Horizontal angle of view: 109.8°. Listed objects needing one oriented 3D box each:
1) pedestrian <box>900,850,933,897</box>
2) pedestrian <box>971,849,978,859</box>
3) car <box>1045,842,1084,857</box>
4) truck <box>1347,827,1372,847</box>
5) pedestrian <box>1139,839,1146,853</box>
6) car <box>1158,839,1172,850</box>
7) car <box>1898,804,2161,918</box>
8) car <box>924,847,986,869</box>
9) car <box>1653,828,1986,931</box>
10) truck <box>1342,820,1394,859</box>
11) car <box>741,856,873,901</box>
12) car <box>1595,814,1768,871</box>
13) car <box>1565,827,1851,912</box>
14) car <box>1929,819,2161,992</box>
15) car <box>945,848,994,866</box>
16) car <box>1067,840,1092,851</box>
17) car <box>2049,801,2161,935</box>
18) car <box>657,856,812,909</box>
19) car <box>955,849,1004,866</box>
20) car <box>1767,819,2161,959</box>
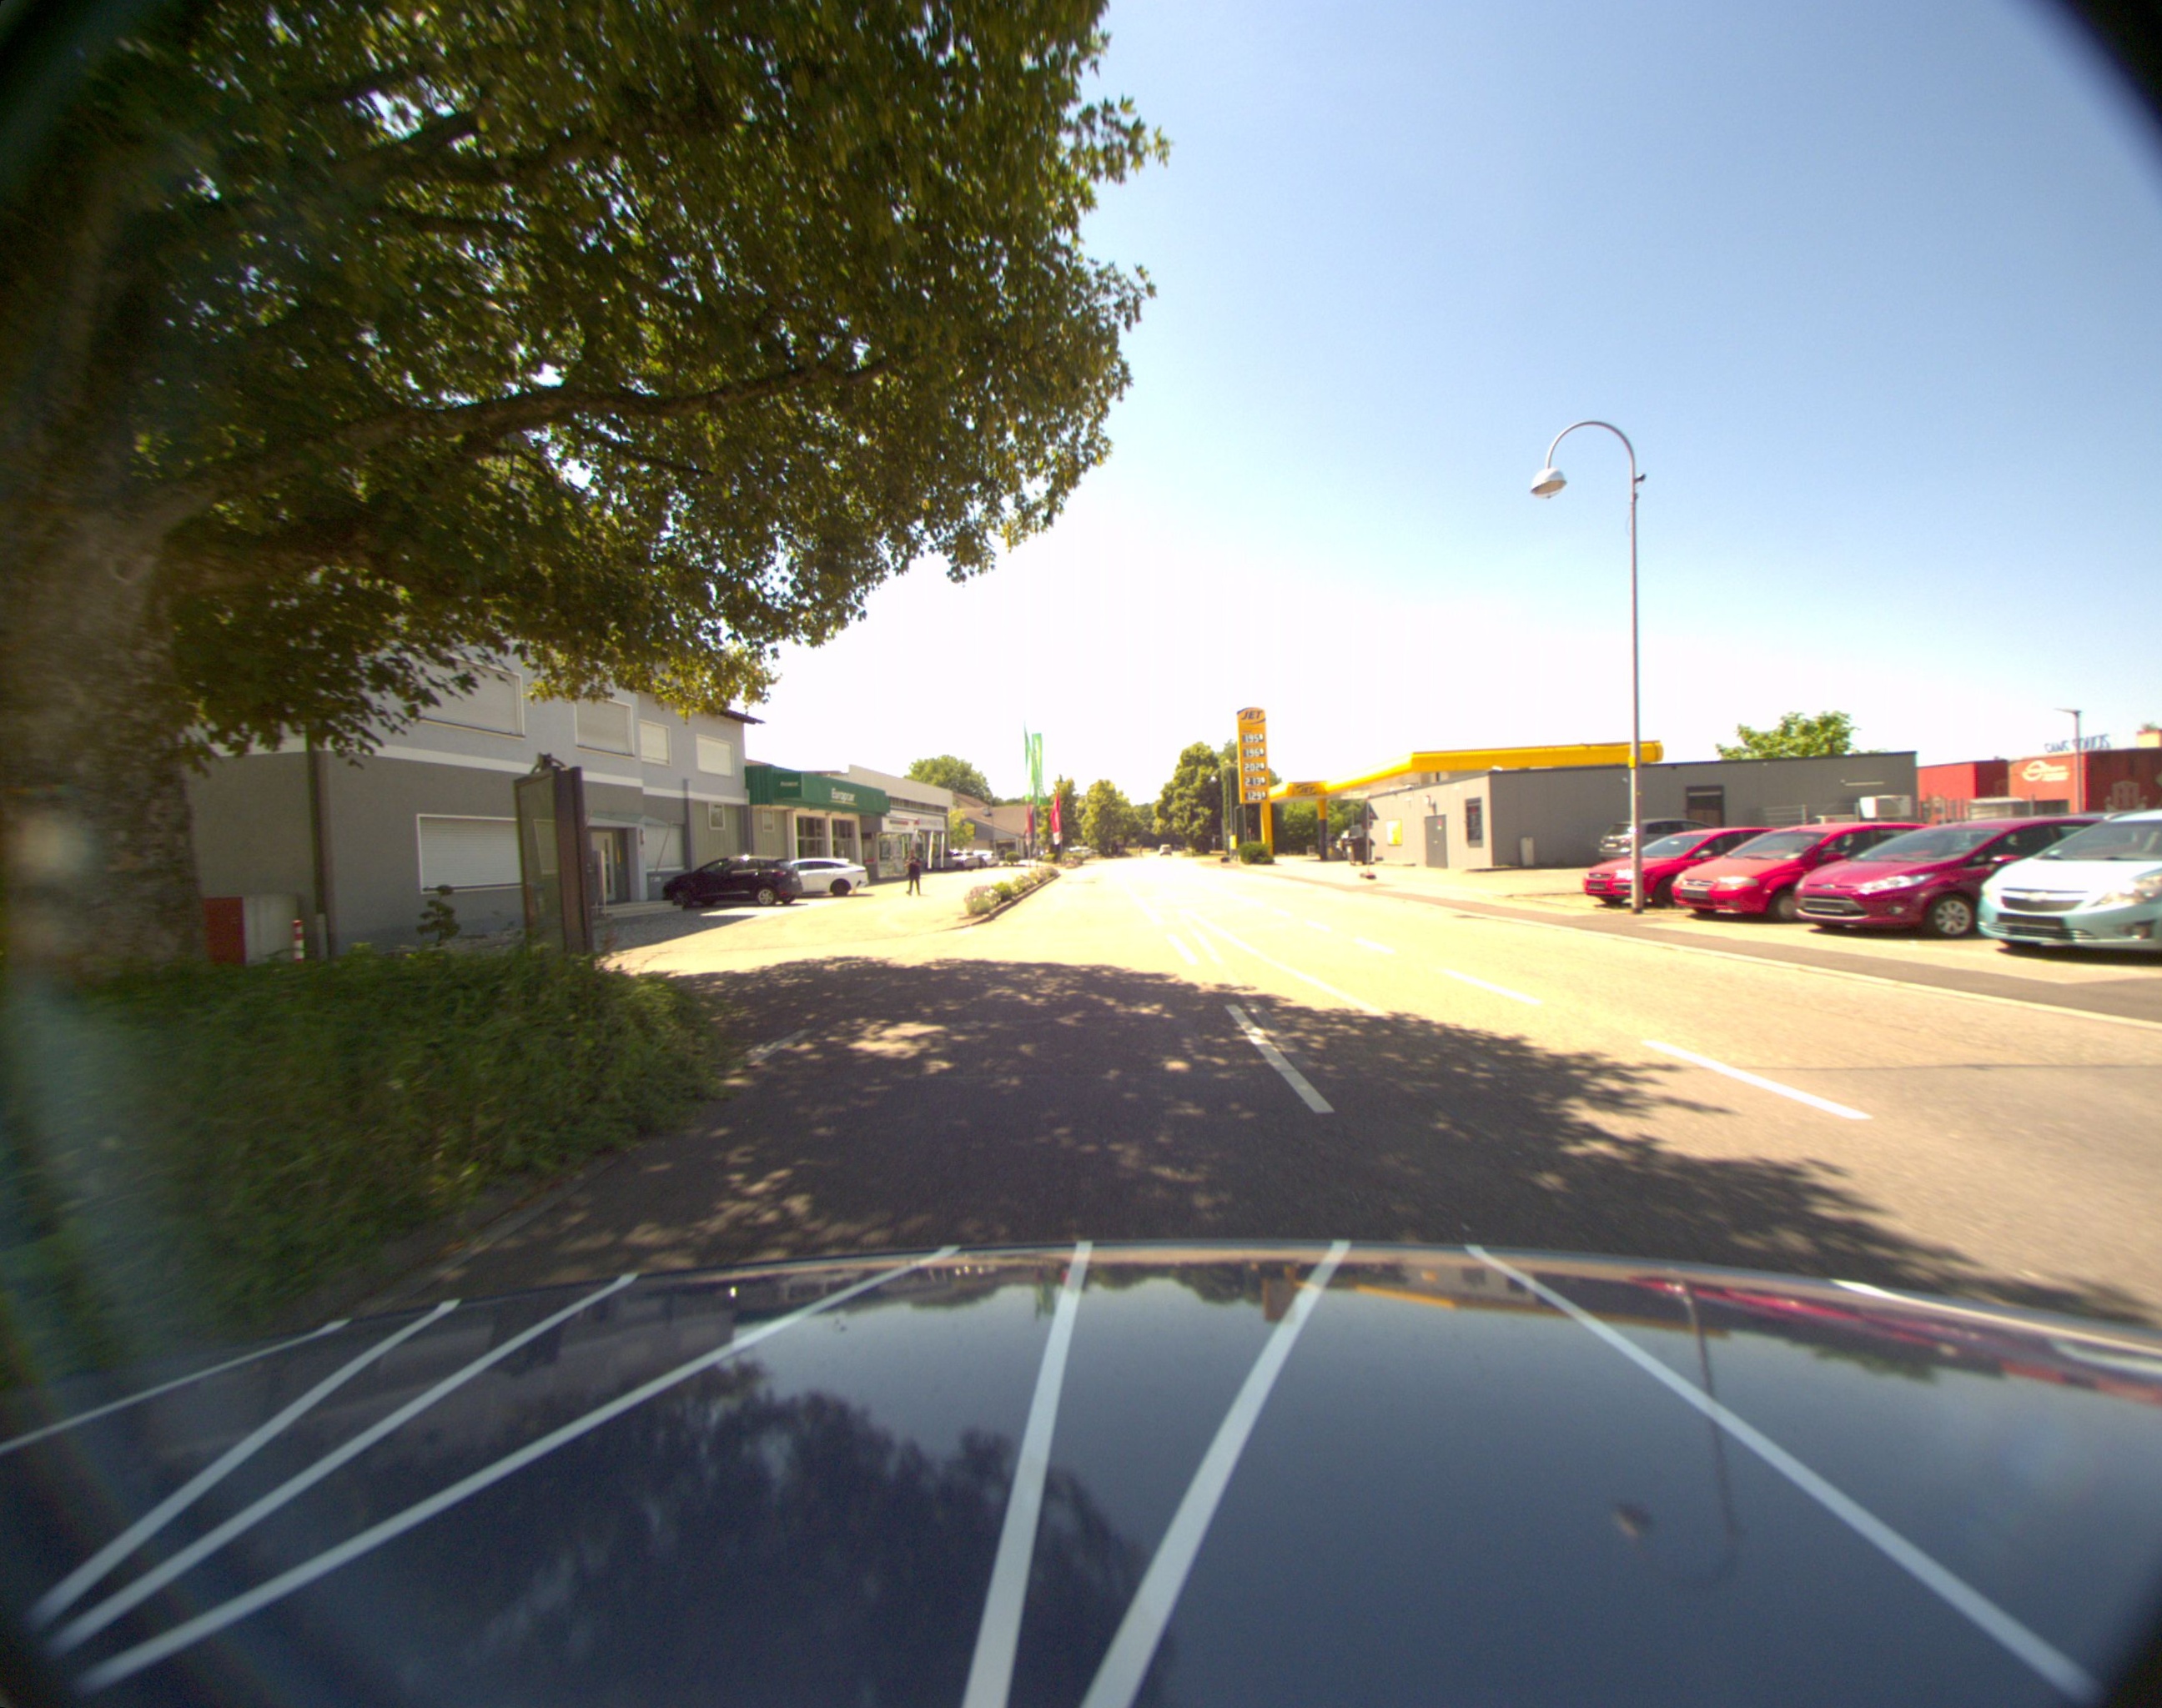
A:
[{"bbox_3d":[-6.034,0.702,27.905,0.842,1.632,1.010,-1,2,6],"label":"pedestrian"},{"bbox_3d":[-15.558,0.006,111.005,0.802,1.543,0.559,-2,2,5],"label":"pedestrian"},{"bbox_3d":[-2.035,-0.609,95.227,4.522,1.658,1.895,-2,1,10],"label":"car"},{"bbox_3d":[43.873,-2.621,120.003,2.437,2.911,8.170,-2,0,12],"label":"truck"},{"bbox_3d":[8.264,-1.071,101.887,0.730,1.779,0.621,-2,2,15],"label":"pedestrian"},{"bbox_3d":[13.006,-1.468,117.448,1.973,1.663,4.250,-1,0,7],"label":"car"},{"bbox_3d":[16.578,0.058,12.780,3.673,1.699,1.892,-2,1,-1],"label":"car"},{"bbox_3d":[-10.291,0.314,62.029,4.586,1.632,2.002,-1,1,21],"label":"car"},{"bbox_3d":[11.955,0.369,12.506,3.673,1.449,1.892,-2,1,-1],"label":"car"},{"bbox_3d":[21.046,-1.090,56.004,2.237,2.583,6.735,-2,1,9],"label":"truck"},{"bbox_3d":[-10.011,0.863,27.877,4.362,1.363,1.952,-2,1,-21],"label":"car"},{"bbox_3d":[18.876,-0.365,24.019,3.996,1.575,1.754,-2,1,4],"label":"car"},{"bbox_3d":[12.271,0.277,15.070,4.136,1.436,1.826,-2,1,1],"label":"car"},{"bbox_3d":[11.872,0.417,8.052,3.673,1.572,1.922,-2,1,-1],"label":"car"},{"bbox_3d":[-9.915,0.291,67.590,3.858,1.524,1.680,-1,2,20],"label":"car"},{"bbox_3d":[-0.159,-1.201,108.054,3.405,1.497,1.582,-1,0,3],"label":"car"},{"bbox_3d":[16.441,0.120,10.478,3.859,1.795,1.858,-2,1,-1],"label":"car"},{"bbox_3d":[-10.824,0.863,23.923,3.997,1.541,1.797,-1,1,1],"label":"car"},{"bbox_3d":[-9.240,0.298,69.426,3.992,1.452,1.807,-1,1,17],"label":"car"},{"bbox_3d":[11.930,0.404,10.244,3.673,1.596,1.881,-2,1,-1],"label":"car"}]
